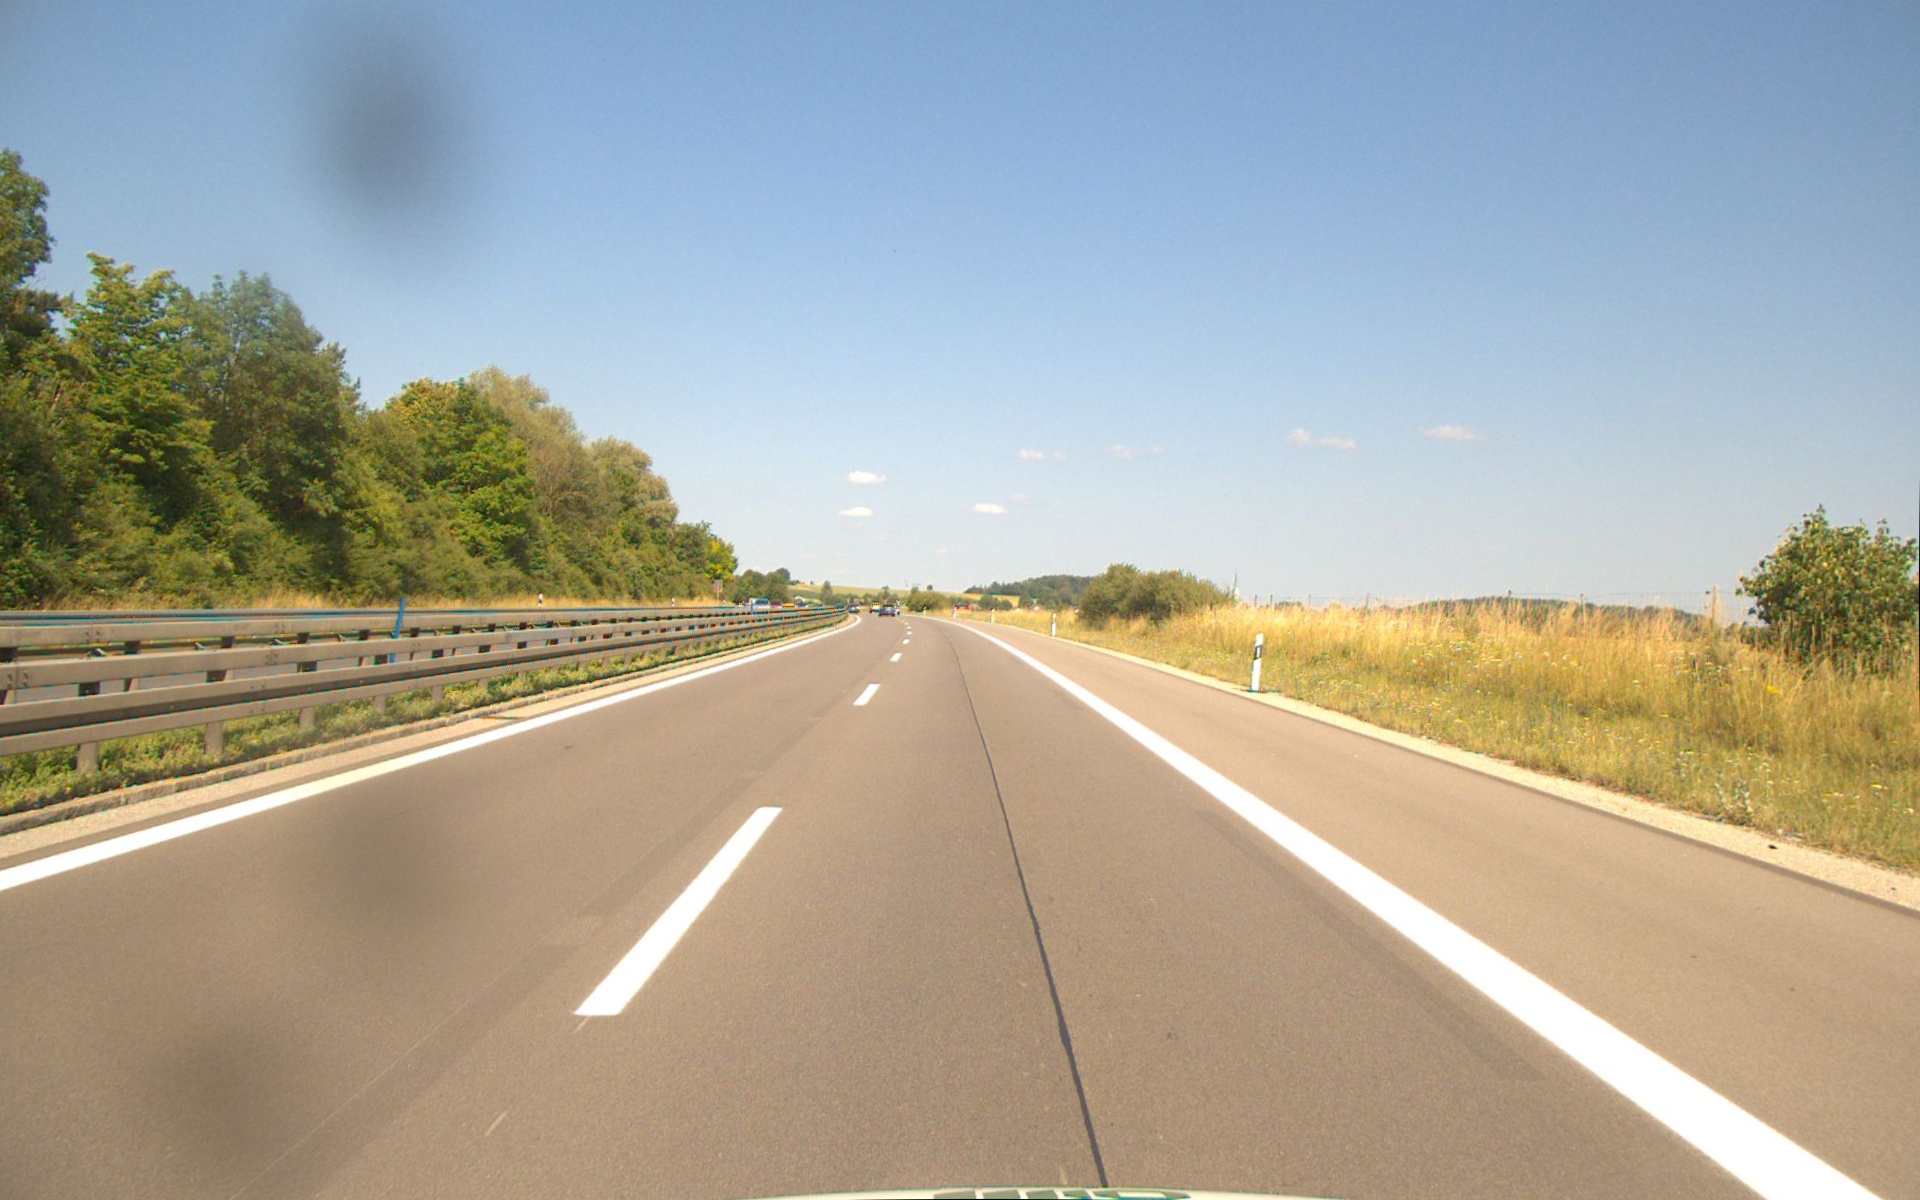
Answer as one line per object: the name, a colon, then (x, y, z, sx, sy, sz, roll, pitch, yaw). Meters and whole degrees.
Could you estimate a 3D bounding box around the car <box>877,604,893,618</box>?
car: (-8.420, 1.230, 185.547, 1.642, 1.479, 3.591, 1, -1, -1)

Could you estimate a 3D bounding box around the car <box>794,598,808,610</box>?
car: (-20.431, 0.555, 212.482, 1.616, 1.519, 4.537, 1, 0, -3)

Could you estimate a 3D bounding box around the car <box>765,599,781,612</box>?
car: (-22.381, 0.699, 198.197, 1.616, 1.519, 4.537, 1, 0, -3)

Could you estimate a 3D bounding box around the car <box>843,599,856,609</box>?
car: (-17.067, 0.642, 255.894, 1.791, 1.479, 3.592, 1, -1, 1)

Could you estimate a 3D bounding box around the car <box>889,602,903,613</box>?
car: (-8.402, 1.000, 217.935, 1.644, 1.479, 3.587, 1, -1, -6)

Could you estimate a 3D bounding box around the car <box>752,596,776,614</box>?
car: (-19.468, 0.497, 164.404, 1.953, 1.640, 4.635, 1, 0, -1)
